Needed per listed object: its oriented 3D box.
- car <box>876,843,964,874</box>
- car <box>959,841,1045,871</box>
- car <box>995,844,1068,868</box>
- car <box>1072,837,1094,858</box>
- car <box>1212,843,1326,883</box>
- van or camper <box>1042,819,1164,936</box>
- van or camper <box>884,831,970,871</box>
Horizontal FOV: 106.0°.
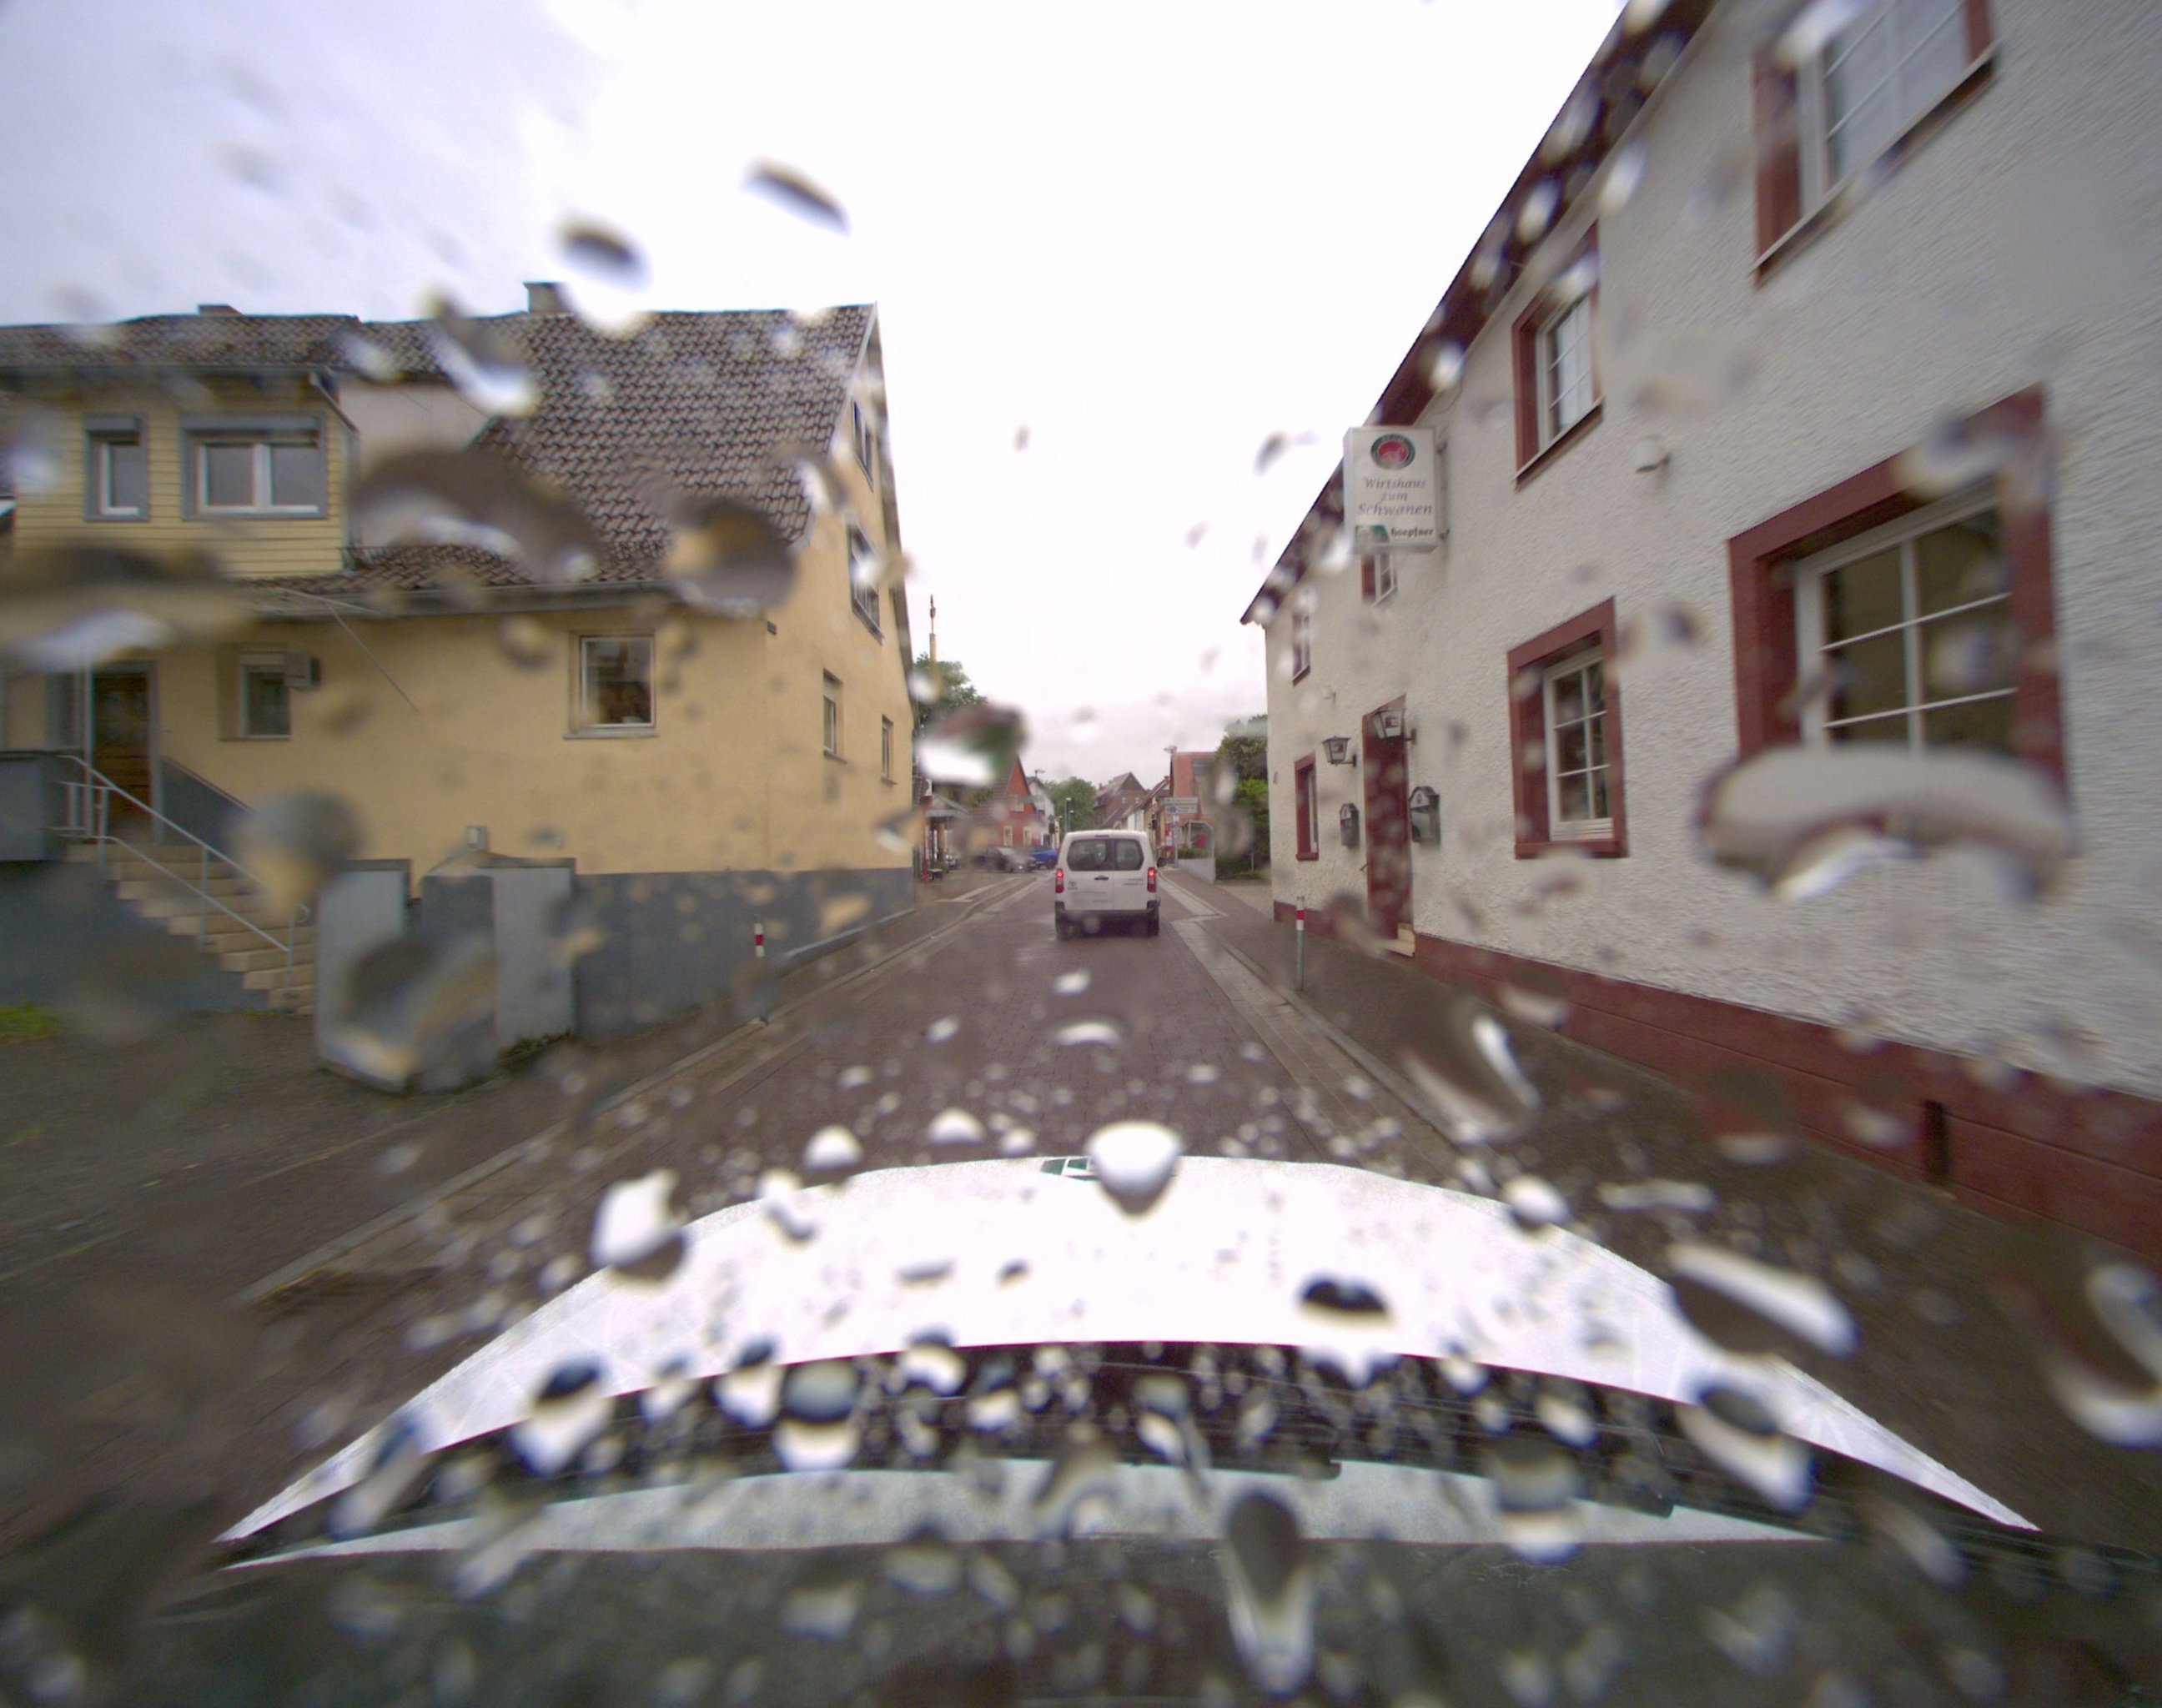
[{"bbox_3d":[-8.889,0.200,44.922,4.407,1.549,1.893,1,2,22],"label":"car"},{"bbox_3d":[-4.355,0.131,44.746,4.260,1.477,1.861,-2,1,25],"label":"car"},{"bbox_3d":[-3.048,0.104,50.355,4.017,1.373,2.088,-1,-1,-36],"label":"car"},{"bbox_3d":[0.176,-0.557,72.592,1.806,1.779,4.017,-2,1,0],"label":"car"},{"bbox_3d":[7.352,0.367,31.722,4.195,1.480,1.702,-1,0,17],"label":"car"},{"bbox_3d":[0.357,0.398,15.338,1.937,1.851,3.999,-2,0,0],"label":"van or camper"},{"bbox_3d":[-9.986,-0.215,52.870,5.094,2.435,2.225,-1,1,27],"label":"van or camper"}]
